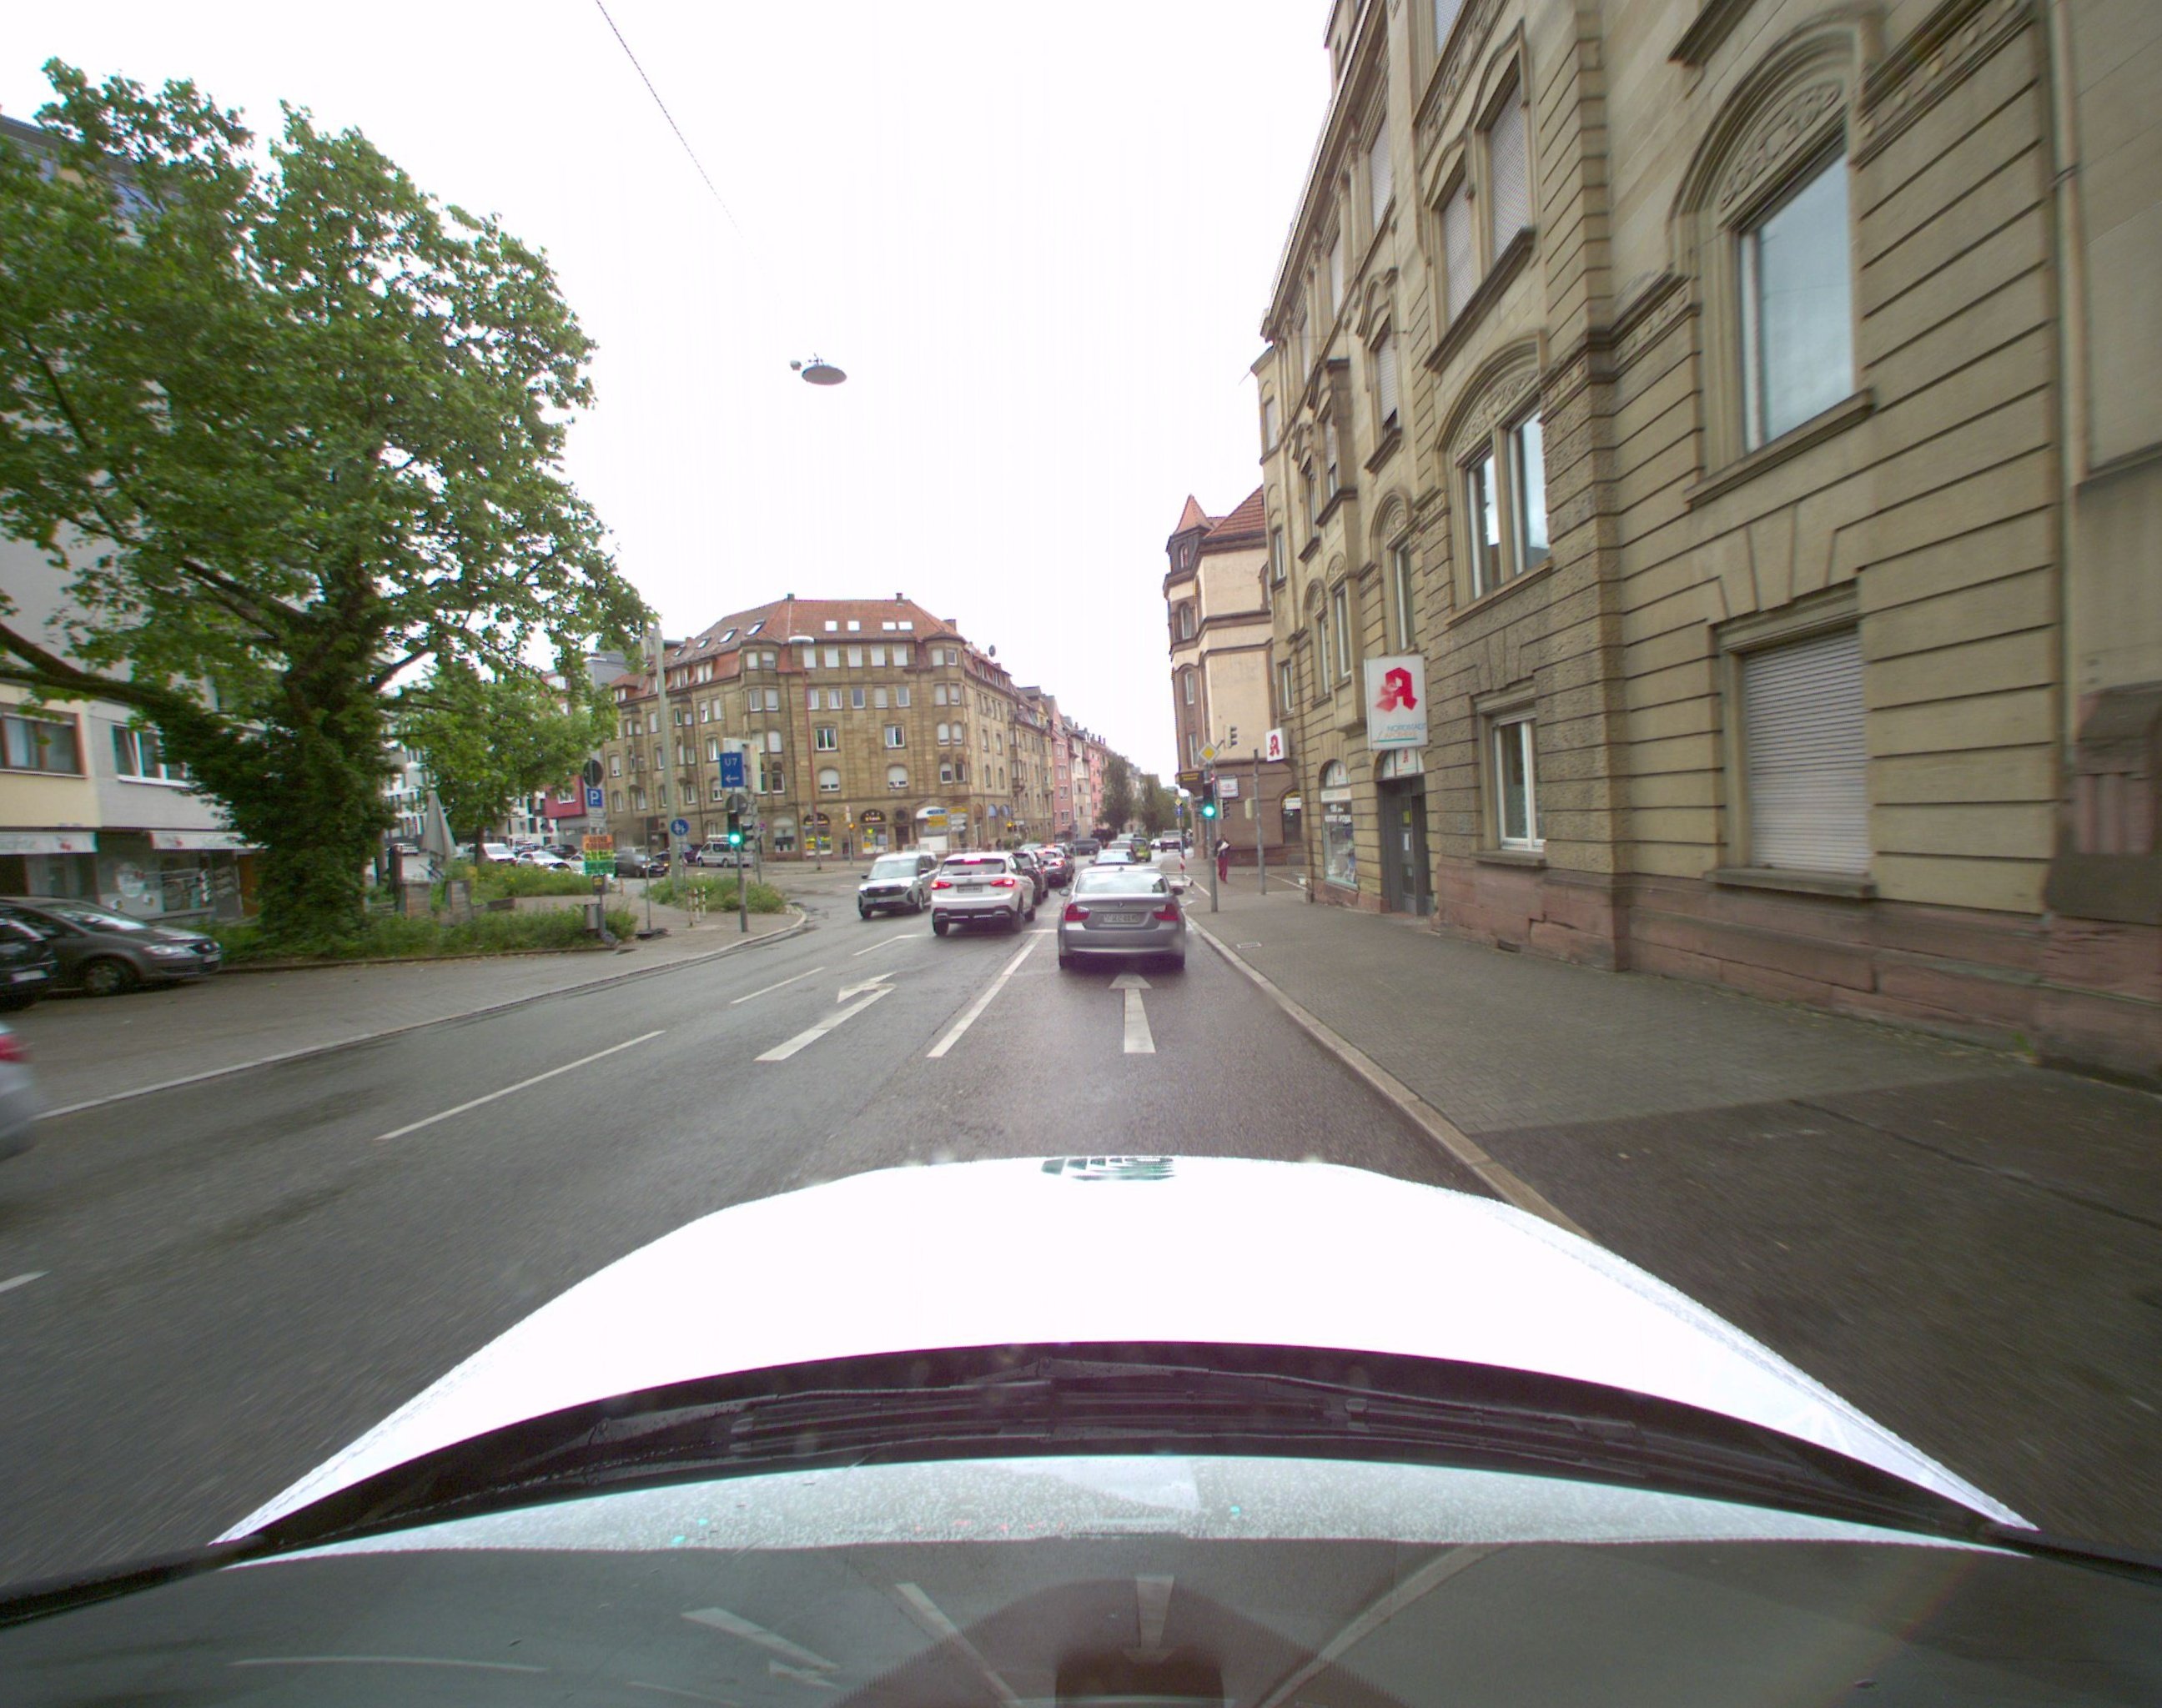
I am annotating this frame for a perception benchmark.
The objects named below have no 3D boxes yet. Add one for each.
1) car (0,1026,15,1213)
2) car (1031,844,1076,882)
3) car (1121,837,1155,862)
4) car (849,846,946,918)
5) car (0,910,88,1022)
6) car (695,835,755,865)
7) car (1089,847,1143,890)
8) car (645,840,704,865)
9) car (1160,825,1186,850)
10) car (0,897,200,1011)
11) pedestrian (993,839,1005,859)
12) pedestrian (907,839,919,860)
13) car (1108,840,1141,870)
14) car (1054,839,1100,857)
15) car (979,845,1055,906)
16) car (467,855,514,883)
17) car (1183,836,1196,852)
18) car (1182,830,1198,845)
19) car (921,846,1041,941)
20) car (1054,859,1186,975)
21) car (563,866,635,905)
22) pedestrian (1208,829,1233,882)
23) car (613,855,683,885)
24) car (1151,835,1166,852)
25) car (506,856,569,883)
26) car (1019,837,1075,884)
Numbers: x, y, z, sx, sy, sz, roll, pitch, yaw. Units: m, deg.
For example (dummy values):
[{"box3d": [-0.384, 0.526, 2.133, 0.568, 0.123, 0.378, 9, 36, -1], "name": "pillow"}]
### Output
[{"box3d": [-6.285, 1.067, 1.814, 1.731, 1.526, 4.474, -6, 0, 2], "name": "car"}, {"box3d": [-1.261, 0.403, 38.908, 1.752, 1.708, 4.004, -2, 0, 4], "name": "car"}, {"box3d": [3.792, -0.295, 53.523, 1.748, 1.567, 4.012, -2, 0, 10], "name": "car"}, {"box3d": [-5.498, 0.777, 24.974, 1.755, 1.925, 4.325, -3, 0, 2], "name": "car"}, {"box3d": [-16.723, 1.638, 10.896, 3.984, 1.450, 1.758, -2, -1, -19], "name": "car"}, {"box3d": [-26.630, -0.313, 60.874, 4.237, 2.101, 2.013, 0, 2, 31], "name": "car"}, {"box3d": [1.307, 0.488, 29.189, 1.752, 1.383, 4.004, -2, 0, 4], "name": "car"}, {"box3d": [-31.263, -0.116, 62.617, 4.237, 1.838, 2.013, 0, 2, 31], "name": "car"}, {"box3d": [8.413, -1.490, 74.687, 1.986, 2.106, 4.002, -1, -1, 2], "name": "car"}, {"box3d": [-17.773, 1.675, 13.337, 4.135, 1.653, 1.758, -2, -1, -19], "name": "car"}, {"box3d": [-6.470, -0.417, 64.525, 0.727, 1.577, 0.530, -3, 0, 11], "name": "pedestrian"}, {"box3d": [-12.869, -0.346, 62.487, 0.721, 1.577, 0.534, -3, -1, -25], "name": "pedestrian"}, {"box3d": [2.301, 0.045, 42.792, 1.588, 1.464, 4.004, -2, 0, 4], "name": "car"}, {"box3d": [-0.377, -0.719, 93.762, 5.157, 2.014, 2.699, 0, -1, 2], "name": "car"}, {"box3d": [-1.897, 0.616, 25.384, 1.752, 1.708, 4.004, -2, 0, 4], "name": "car"}, {"box3d": [-44.335, 1.138, 61.130, 3.948, 2.013, 1.587, -2, 0, 34], "name": "car"}, {"box3d": [14.507, -1.300, 108.657, 1.715, 2.014, 4.009, 0, -1, 8], "name": "car"}, {"box3d": [12.817, -1.945, 95.813, 1.717, 1.552, 4.005, 0, -1, 4], "name": "car"}, {"box3d": [-2.015, 0.736, 17.639, 1.861, 1.625, 4.003, -4, 2, 2], "name": "car"}, {"box3d": [0.602, 0.802, 12.021, 1.616, 1.383, 3.619, -2, 0, 4], "name": "car"}, {"box3d": [-27.183, 1.765, 45.923, 3.948, 2.013, 1.890, -3, -1, 34], "name": "car"}, {"box3d": [5.146, 0.056, 30.039, 0.739, 1.910, 0.659, -3, 0, 1], "name": "pedestrian"}, {"box3d": [-26.923, 0.971, 50.624, 4.194, 1.726, 2.013, -1, 2, 33], "name": "car"}, {"box3d": [10.119, -1.332, 106.342, 1.715, 2.014, 4.009, 0, -1, 8], "name": "car"}, {"box3d": [-38.294, 1.077, 57.361, 4.194, 1.726, 2.013, -1, 2, 31], "name": "car"}, {"box3d": [-1.272, 0.248, 32.196, 1.752, 1.708, 4.004, -2, 0, 4], "name": "car"}]
